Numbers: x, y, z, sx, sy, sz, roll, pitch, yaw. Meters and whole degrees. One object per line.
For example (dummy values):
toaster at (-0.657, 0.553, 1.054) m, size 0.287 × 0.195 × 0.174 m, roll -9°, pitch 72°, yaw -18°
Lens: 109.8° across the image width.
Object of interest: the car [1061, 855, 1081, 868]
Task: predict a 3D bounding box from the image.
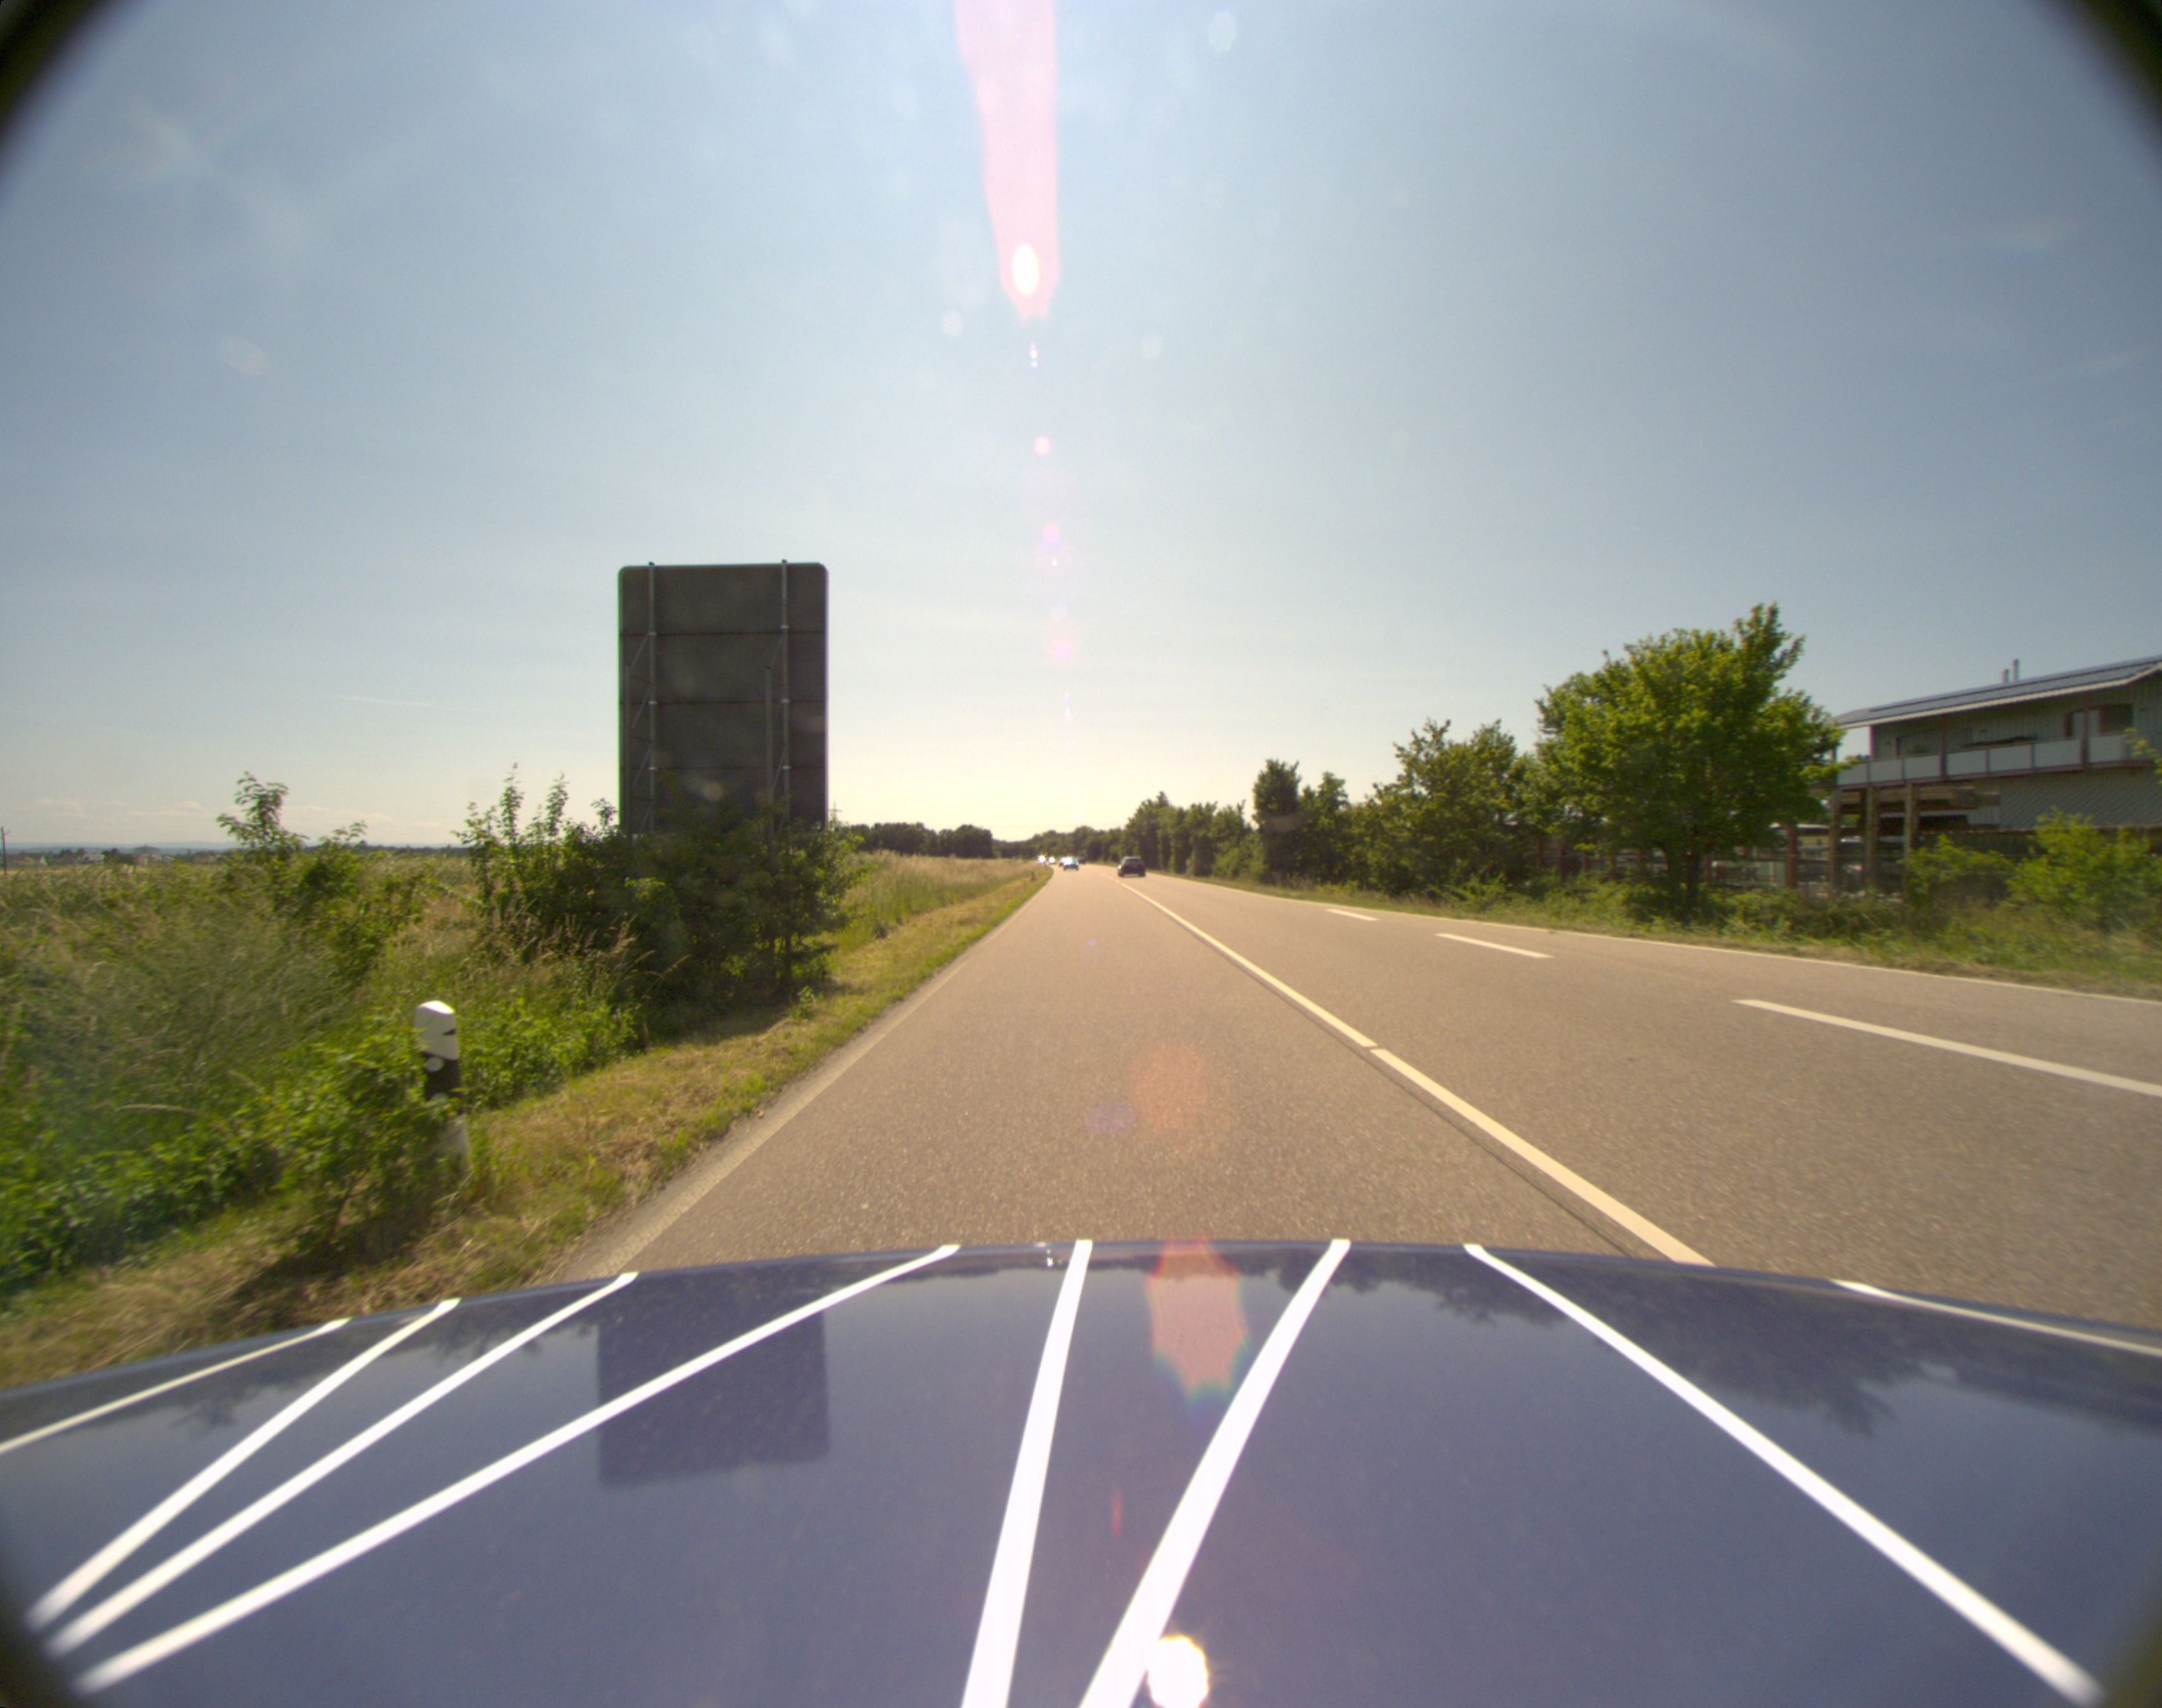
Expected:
car at (-1.165, 0.930, 89.973) m, size 1.695 × 1.431 × 3.707 m, roll -2°, pitch 0°, yaw -11°

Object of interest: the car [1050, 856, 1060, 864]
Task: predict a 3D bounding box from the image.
car at (-5.752, 1.399, 167.027) m, size 1.554 × 1.659 × 3.996 m, roll -2°, pitch 1°, yaw -8°

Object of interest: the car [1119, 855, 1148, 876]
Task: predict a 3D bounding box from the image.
car at (3.783, 0.830, 55.686) m, size 1.786 × 1.412 × 4.533 m, roll -2°, pitch 0°, yaw 0°

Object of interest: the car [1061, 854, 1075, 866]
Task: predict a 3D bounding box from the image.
car at (-2.213, 1.025, 126.525) m, size 1.999 × 2.002 × 3.998 m, roll -1°, pitch 0°, yaw -5°
